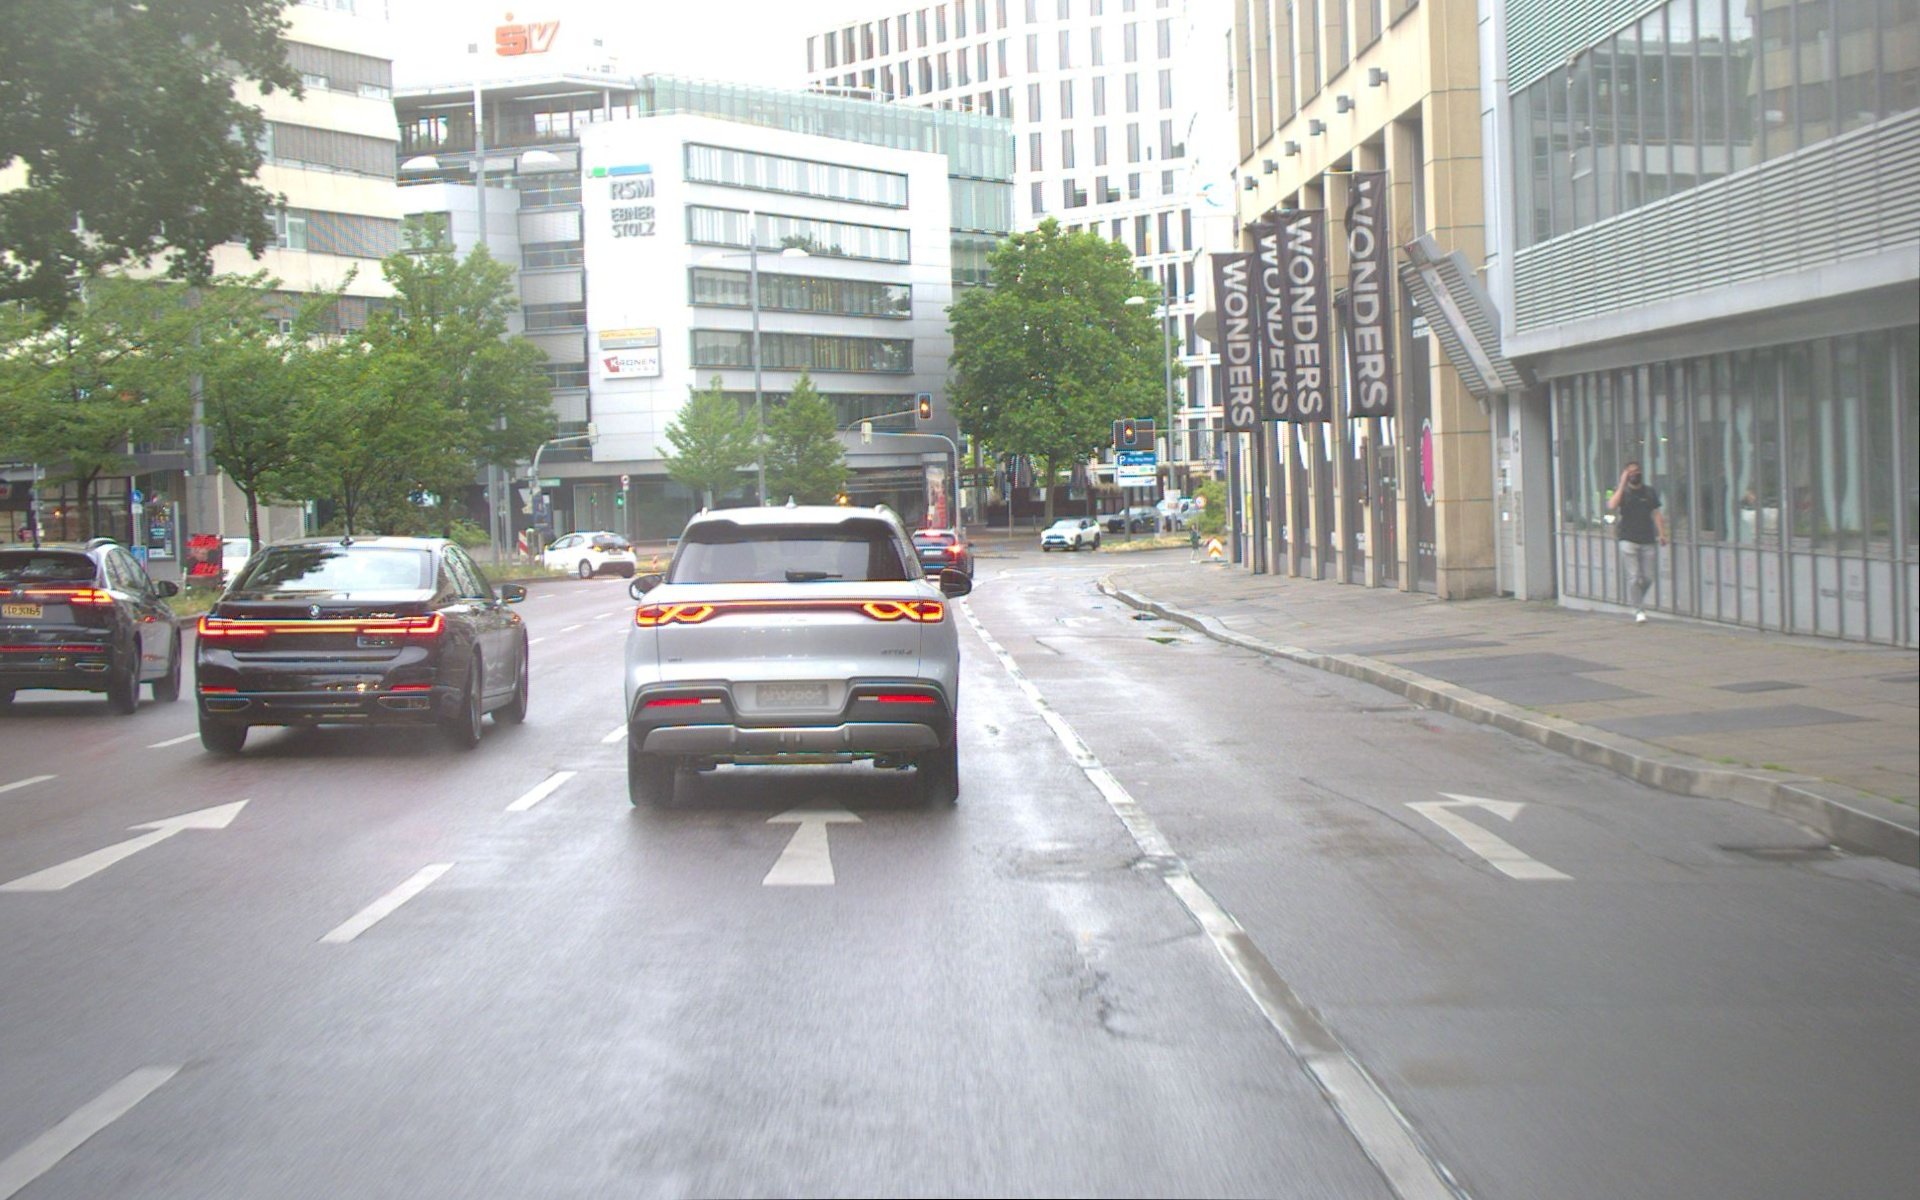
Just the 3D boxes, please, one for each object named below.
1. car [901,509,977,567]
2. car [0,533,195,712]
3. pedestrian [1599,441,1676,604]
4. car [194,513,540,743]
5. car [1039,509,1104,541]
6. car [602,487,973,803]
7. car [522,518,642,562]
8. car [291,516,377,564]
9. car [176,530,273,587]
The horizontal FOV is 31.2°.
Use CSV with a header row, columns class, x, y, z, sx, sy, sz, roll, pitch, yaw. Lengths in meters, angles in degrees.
class,x,y,z,sx,sy,sz,roll,pitch,yaw
car,-0.596,-1.817,99.811,1.812,1.573,4.000,-1,2,5
car,-7.959,0.172,30.612,1.773,1.452,4.001,-2,1,-6
pedestrian,7.515,-0.858,38.172,0.635,1.766,0.790,-2,1,-1
car,-4.216,0.126,25.173,1.872,1.474,4.879,-2,1,-3
car,5.674,-3.810,173.995,1.583,1.533,3.994,0,2,29
car,-0.940,0.185,19.885,1.901,1.616,4.001,-1,1,-1
car,-12.028,-1.909,109.264,1.654,1.337,3.998,-3,2,-44
car,-19.914,-1.900,109.469,1.623,1.448,4.162,-2,1,5
car,-20.492,-1.176,95.910,1.623,1.487,4.307,-2,1,2
